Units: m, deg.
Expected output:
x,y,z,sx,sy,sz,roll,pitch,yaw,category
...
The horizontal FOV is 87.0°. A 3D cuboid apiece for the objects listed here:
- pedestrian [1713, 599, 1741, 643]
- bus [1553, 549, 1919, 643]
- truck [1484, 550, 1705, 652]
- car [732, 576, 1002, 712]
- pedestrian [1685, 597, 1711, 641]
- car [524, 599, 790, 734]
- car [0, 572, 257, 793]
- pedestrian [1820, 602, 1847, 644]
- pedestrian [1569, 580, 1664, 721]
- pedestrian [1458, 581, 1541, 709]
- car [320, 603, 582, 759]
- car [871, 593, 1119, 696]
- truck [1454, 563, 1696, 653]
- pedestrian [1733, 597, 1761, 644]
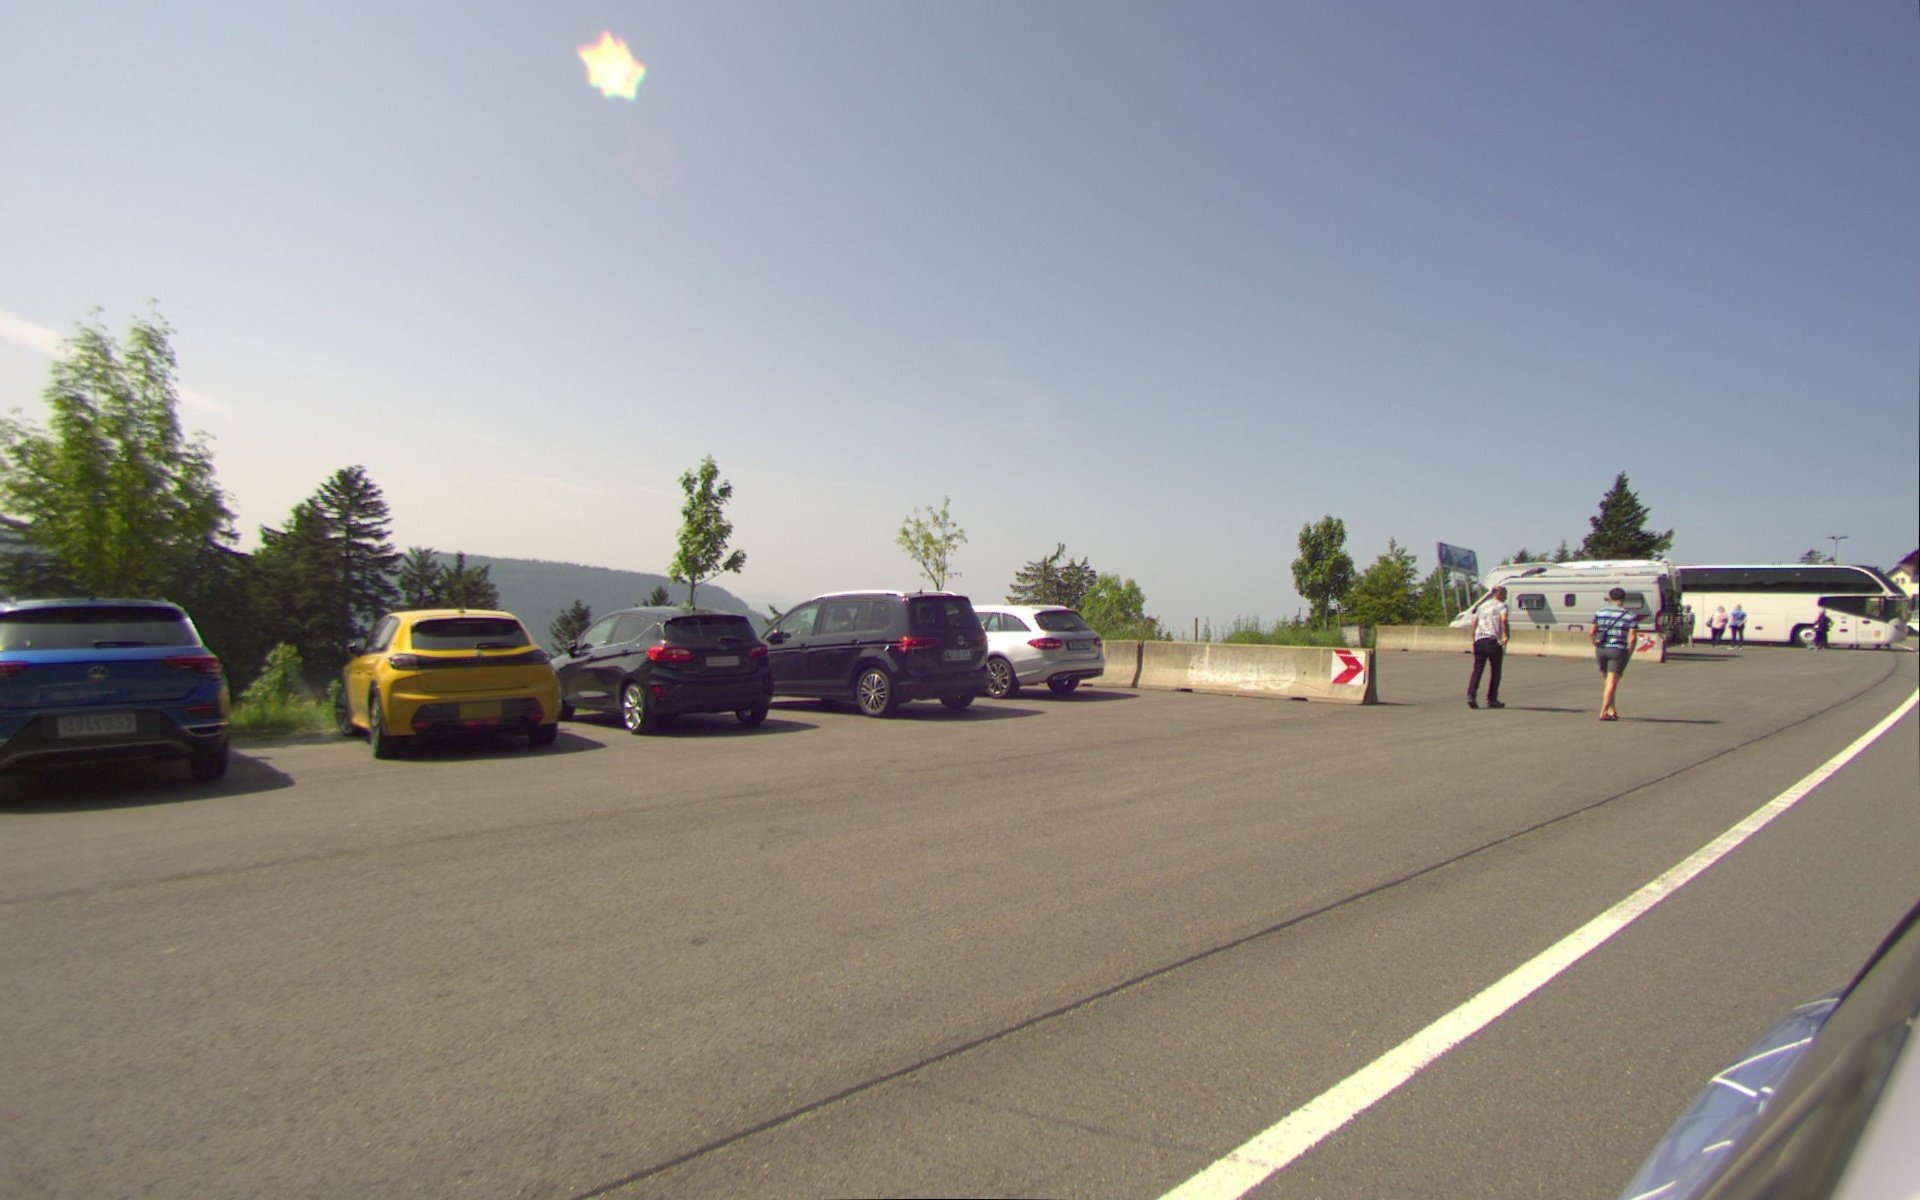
x,y,z,sx,sy,sz,roll,pitch,yaw,category
30.066,0.823,39.664,0.615,1.671,0.633,1,0,-20,pedestrian
33.652,-0.291,44.422,2.791,3.622,12.863,1,1,-42,bus
21.827,-0.029,35.013,6.065,3.236,2.492,2,1,44,truck
-1.428,0.585,14.354,3.985,1.668,1.575,-2,-2,43,car
29.616,0.752,40.616,0.615,1.719,0.633,1,0,-31,pedestrian
-4.013,0.789,12.999,1.733,1.455,4.001,0,-2,-42,car
-7.832,0.604,8.958,3.986,1.556,1.778,1,-3,43,car
33.783,0.897,39.144,0.615,1.586,0.633,1,0,-31,pedestrian
8.591,0.635,13.256,0.760,1.782,0.757,1,0,-30,pedestrian
7.723,0.624,14.488,0.876,1.763,0.668,1,0,-30,pedestrian
-5.824,0.737,11.321,1.950,1.370,3.998,0,0,-37,car
0.487,0.703,16.807,3.986,1.495,1.745,-2,-2,44,car
19.614,0.185,32.579,2.301,2.623,6.267,1,0,-43,truck
30.302,0.788,38.961,0.615,1.780,0.633,1,0,-31,pedestrian
